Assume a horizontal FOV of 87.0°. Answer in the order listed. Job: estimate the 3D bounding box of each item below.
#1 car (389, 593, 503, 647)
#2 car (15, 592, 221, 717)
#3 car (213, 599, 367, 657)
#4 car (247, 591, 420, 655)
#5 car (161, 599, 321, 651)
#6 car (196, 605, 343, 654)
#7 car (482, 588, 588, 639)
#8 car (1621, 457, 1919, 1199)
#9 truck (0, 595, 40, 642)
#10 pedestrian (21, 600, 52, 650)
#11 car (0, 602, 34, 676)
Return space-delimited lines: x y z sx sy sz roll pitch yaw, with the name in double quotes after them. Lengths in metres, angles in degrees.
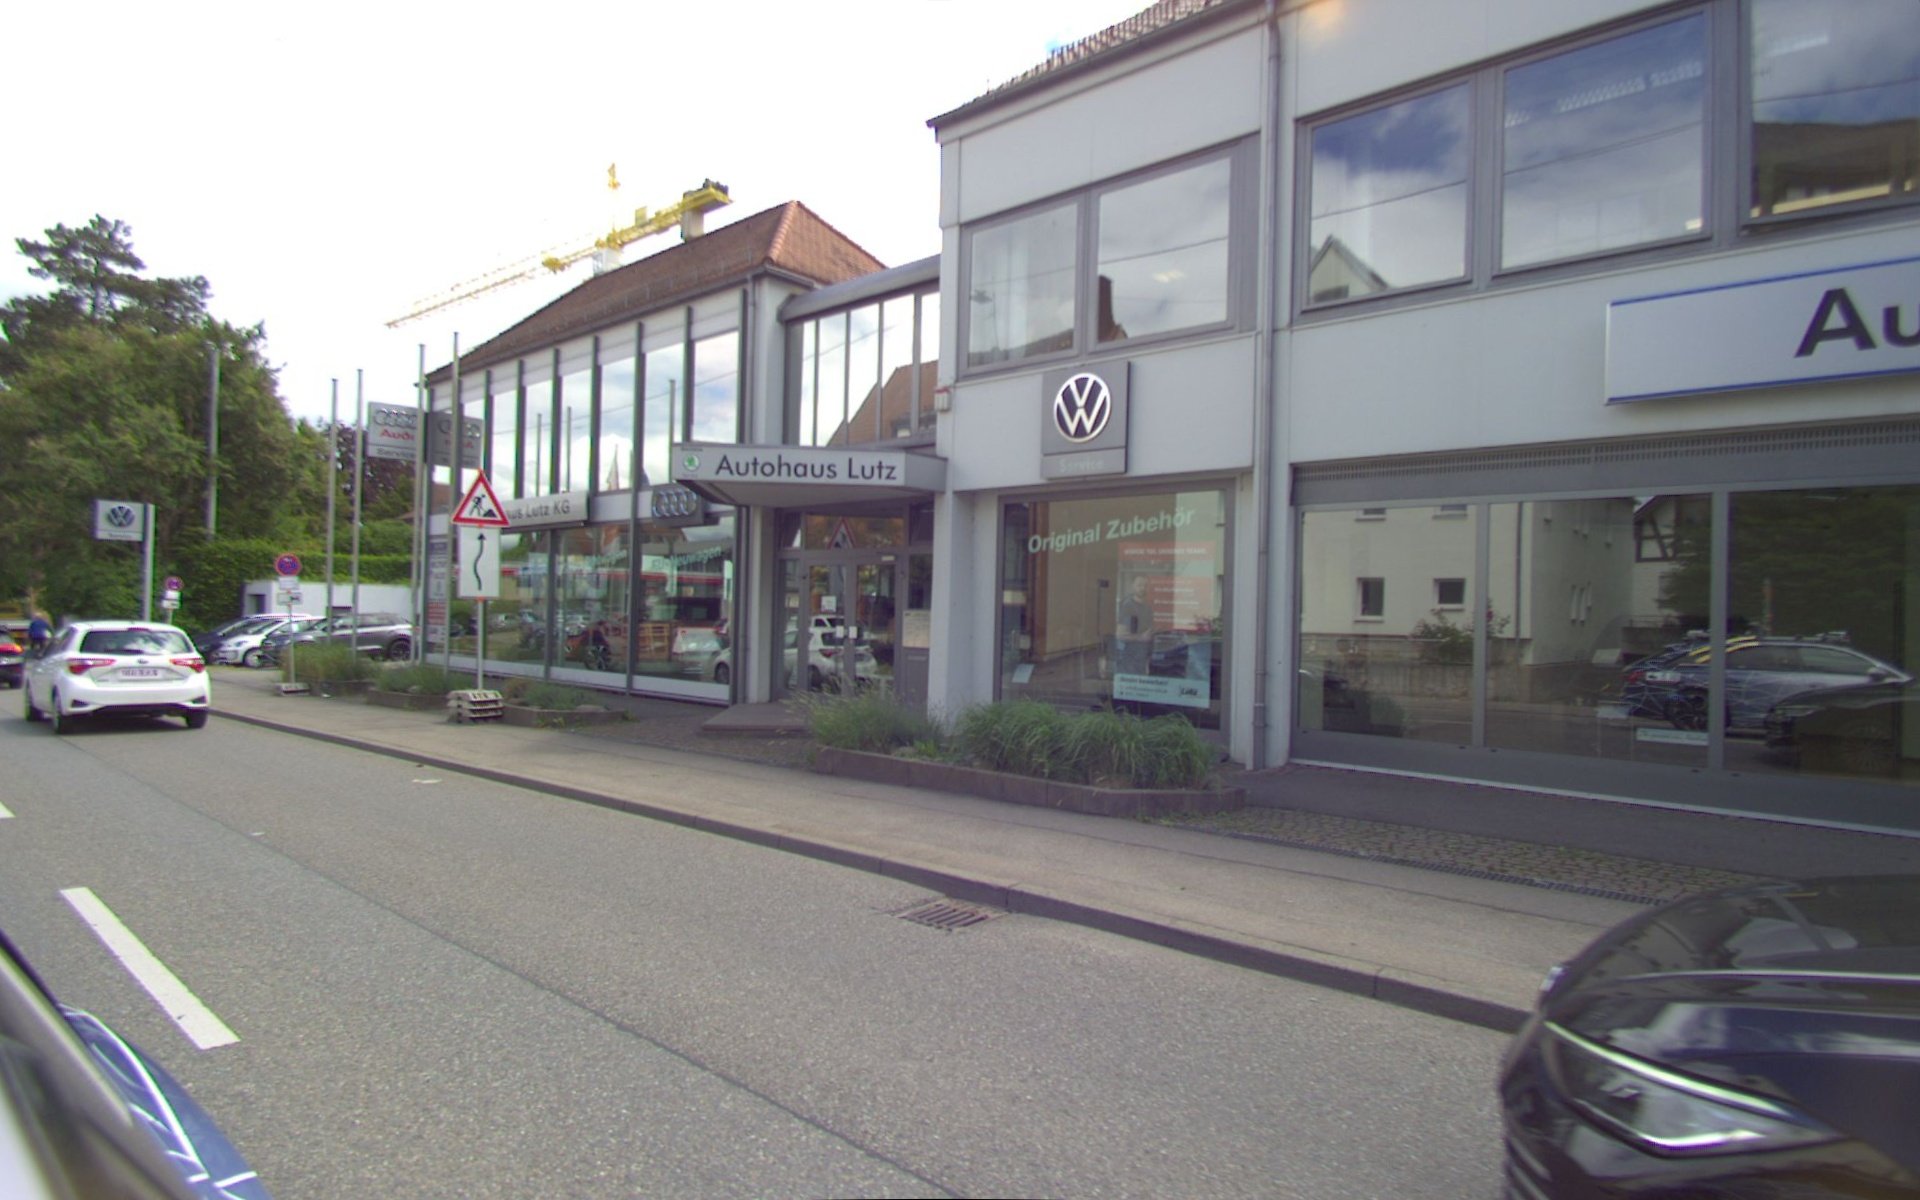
-16.954 0.678 33.328 4.324 1.597 1.788 -2 1 41 "car"
-12.363 0.706 14.789 3.797 1.591 1.672 0 -1 40 "car"
-20.837 0.828 31.577 1.533 1.572 3.703 -1 1 39 "car"
-18.353 0.628 29.786 1.652 1.642 3.974 -1 1 39 "car"
-25.174 0.826 35.545 1.903 1.653 4.245 -1 0 41 "car"
-22.822 0.956 33.538 1.727 1.530 3.703 -1 -1 39 "car"
-14.634 0.490 34.791 3.801 1.597 1.788 -2 1 41 "car"
3.289 0.594 0.812 4.459 1.535 1.758 0 -1 40 "car"
-52.282 0.979 55.411 6.092 2.438 2.281 1 1 42 "truck"
-32.477 0.864 35.591 0.868 1.750 0.676 0 1 40 "pedestrian"
-22.073 0.809 22.348 4.167 1.535 1.813 0 -1 39 "car"
